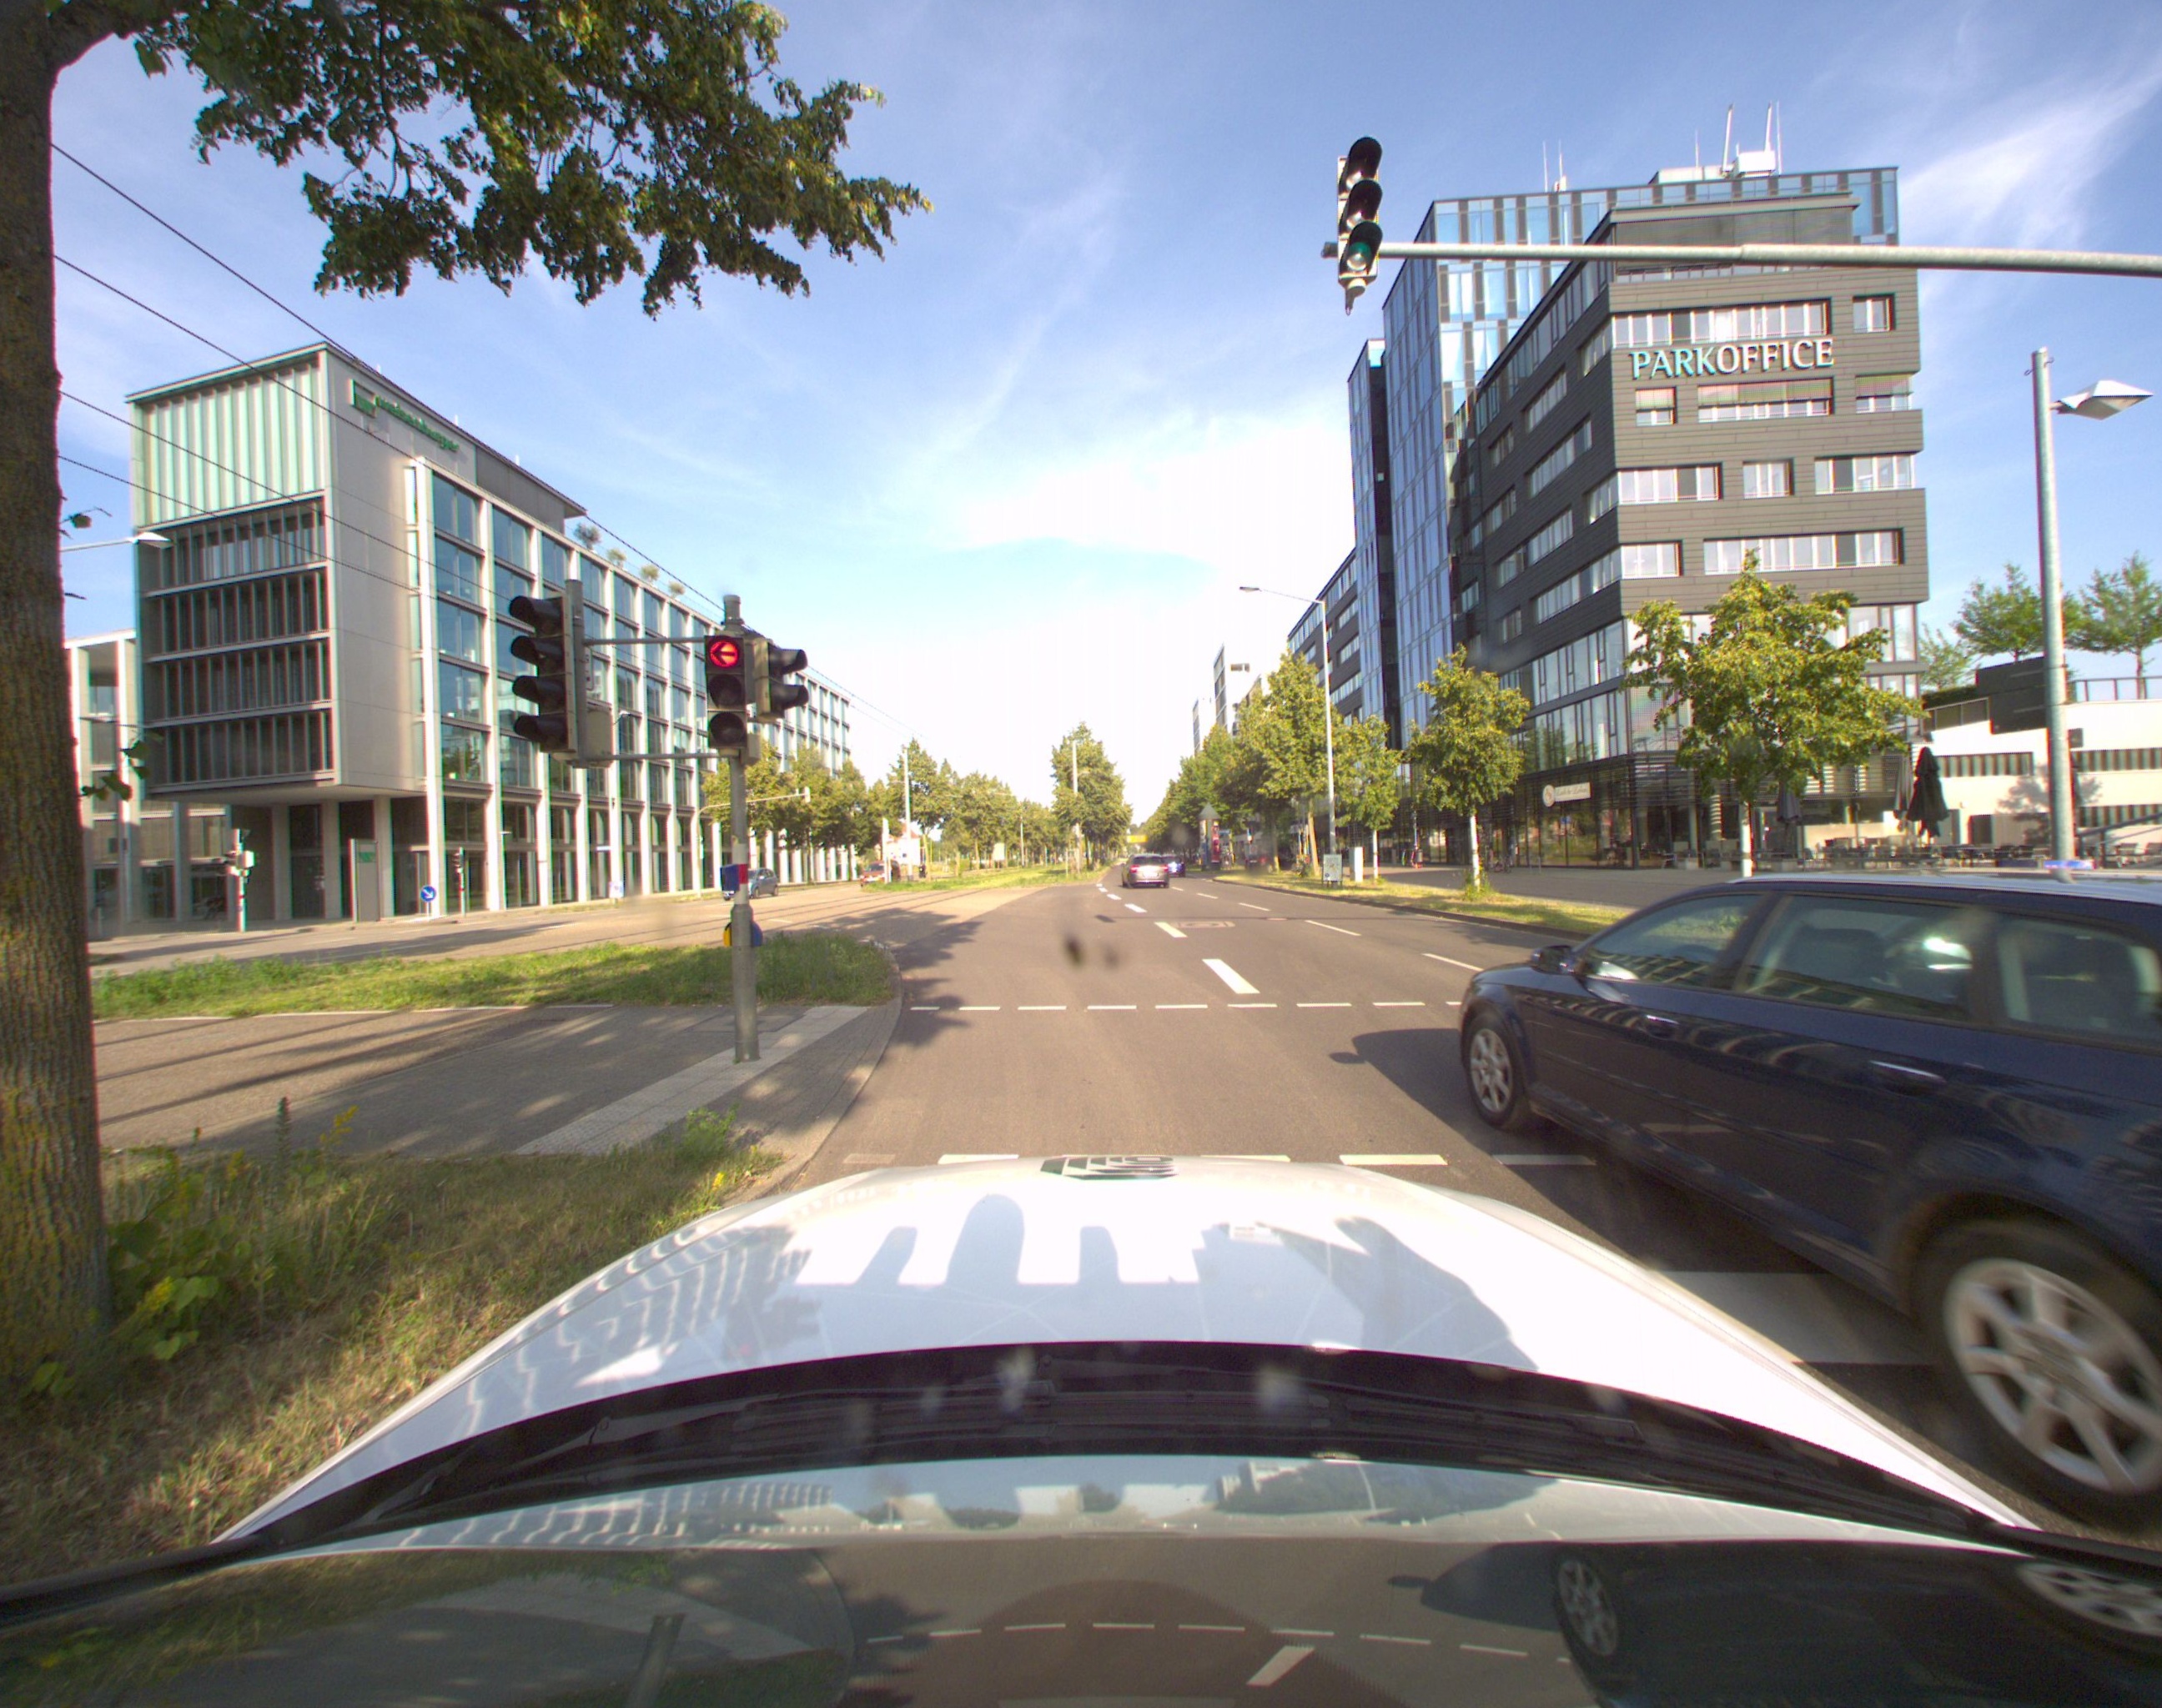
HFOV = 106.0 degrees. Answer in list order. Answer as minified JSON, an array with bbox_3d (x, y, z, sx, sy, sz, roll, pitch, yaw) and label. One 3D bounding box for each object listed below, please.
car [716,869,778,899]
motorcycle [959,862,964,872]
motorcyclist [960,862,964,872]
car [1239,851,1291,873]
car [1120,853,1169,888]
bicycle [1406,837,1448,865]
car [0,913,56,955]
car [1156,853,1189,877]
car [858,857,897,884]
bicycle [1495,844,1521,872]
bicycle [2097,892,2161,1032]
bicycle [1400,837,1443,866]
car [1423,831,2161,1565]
[{"bbox_3d":[-17.256,1.517,42.268,1.633,1.443,3.955,0,0,-1],"label":"car"},{"bbox_3d":[-18.779,1.988,128.301,0.472,1.531,1.993,0,-1,2],"label":"motorcycle"},{"bbox_3d":[-18.771,1.979,128.405,0.484,1.564,0.455,0,-1,1],"label":"motorcyclist"},{"bbox_3d":[12.327,0.543,54.415,1.757,1.424,3.985,-1,-1,39],"label":"car"},{"bbox_3d":[2.723,0.684,35.538,1.690,1.424,4.036,0,0,-2],"label":"car"},{"bbox_3d":[22.153,-0.175,52.136,2.418,1.746,0.556,-1,-1,12],"label":"bicycle"},{"bbox_3d":[-40.527,2.951,30.293,3.477,1.424,1.581,-1,-1,12],"label":"car"},{"bbox_3d":[5.750,0.664,51.574,1.556,1.424,3.905,0,0,-1],"label":"car"},{"bbox_3d":[-13.703,1.099,55.023,1.679,1.775,3.881,0,0,-1],"label":"car"},{"bbox_3d":[20.630,0.207,39.353,0.371,1.346,1.896,0,-1,4],"label":"bicycle"},{"bbox_3d":[9.008,0.795,6.098,2.128,1.013,0.571,0,-1,-1],"label":"bicycle"},{"bbox_3d":[22.140,-0.186,53.008,2.547,1.857,0.571,-1,-1,12],"label":"bicycle"},{"bbox_3d":[3.016,0.679,3.168,1.745,1.435,4.036,0,0,1],"label":"car"}]
